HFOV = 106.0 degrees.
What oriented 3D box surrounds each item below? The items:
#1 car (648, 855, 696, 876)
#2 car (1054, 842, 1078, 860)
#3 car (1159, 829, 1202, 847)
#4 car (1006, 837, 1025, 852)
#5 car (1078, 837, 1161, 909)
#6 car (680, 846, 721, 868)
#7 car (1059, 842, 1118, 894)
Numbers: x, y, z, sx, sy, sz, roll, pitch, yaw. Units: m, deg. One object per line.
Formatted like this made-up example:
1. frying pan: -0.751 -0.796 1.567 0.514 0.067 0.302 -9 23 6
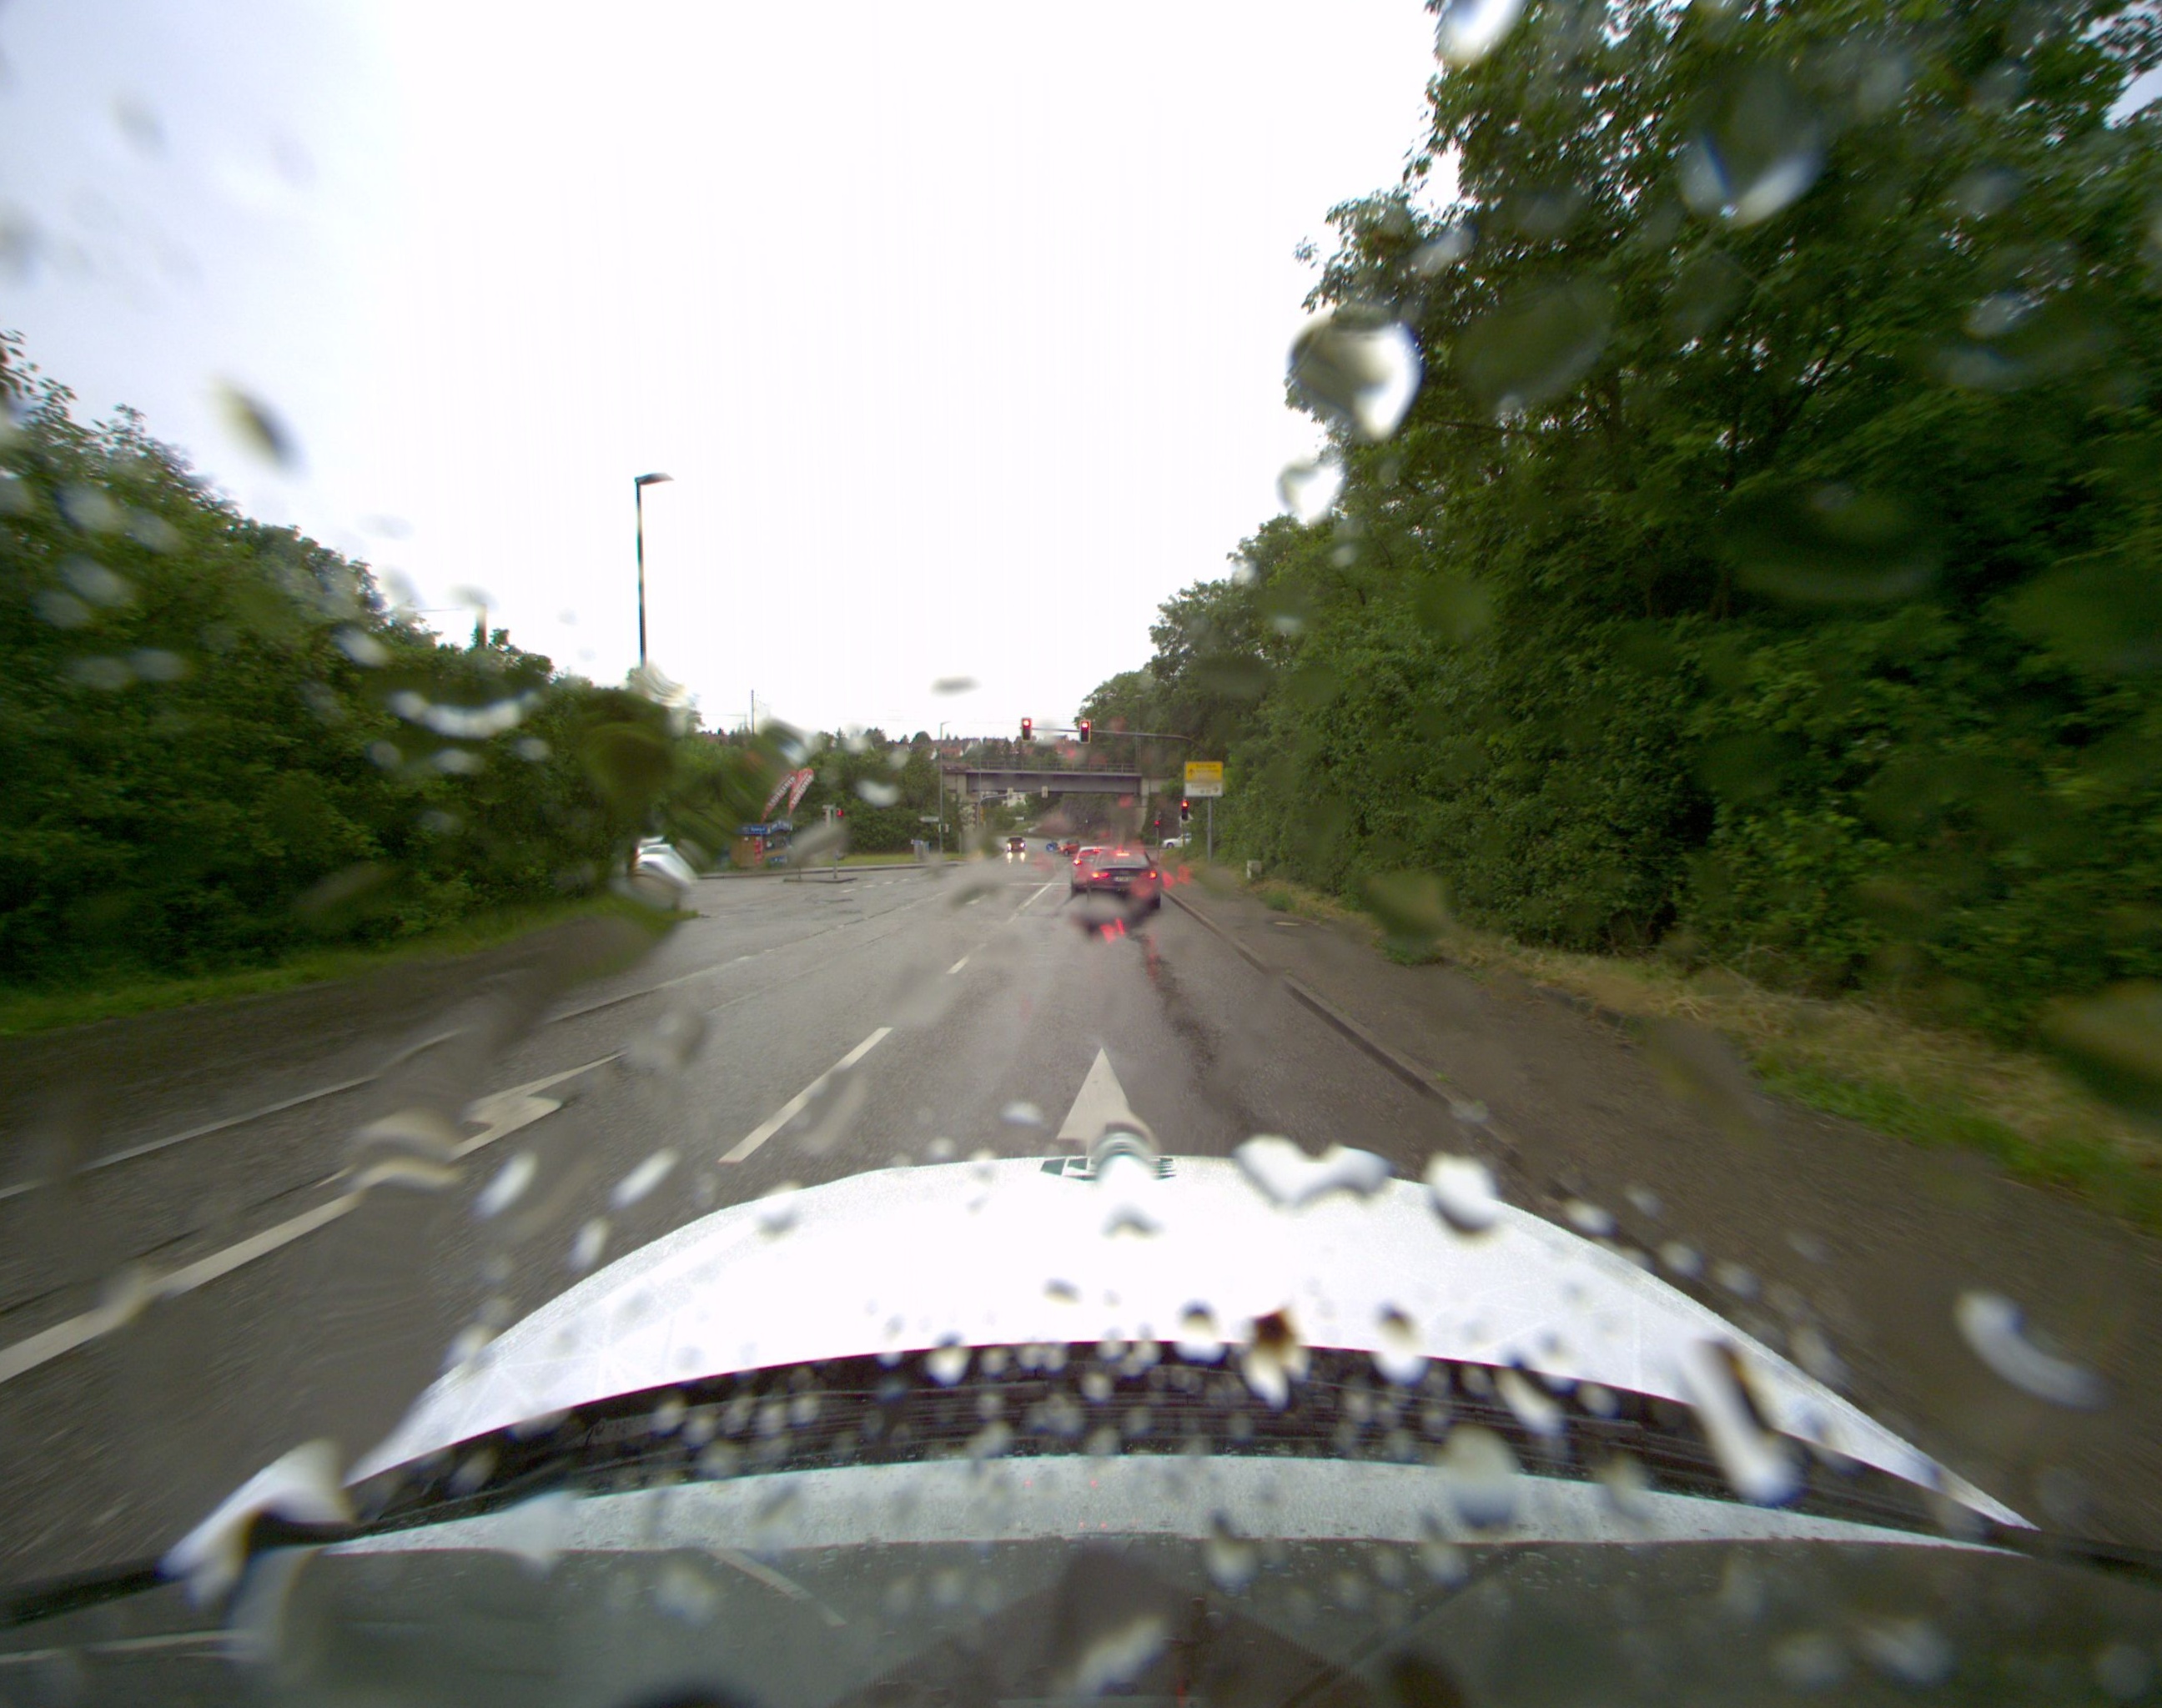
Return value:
1. car: -27.650 0.787 55.232 1.652 1.340 4.883 -1 0 -11
2. car: -1.361 -0.256 73.930 1.986 1.585 4.001 -1 0 1
3. car: 10.391 -1.633 84.950 4.439 1.742 1.815 -1 0 8
4. car: -7.241 -1.068 89.888 1.991 1.628 3.992 -2 1 -6
5. car: 0.937 0.399 20.590 1.863 1.616 4.002 1 1 1
6. car: -30.358 0.203 65.040 1.995 1.585 3.985 -2 1 -11
7. car: 0.292 0.452 27.332 1.816 1.585 4.001 -1 0 1
